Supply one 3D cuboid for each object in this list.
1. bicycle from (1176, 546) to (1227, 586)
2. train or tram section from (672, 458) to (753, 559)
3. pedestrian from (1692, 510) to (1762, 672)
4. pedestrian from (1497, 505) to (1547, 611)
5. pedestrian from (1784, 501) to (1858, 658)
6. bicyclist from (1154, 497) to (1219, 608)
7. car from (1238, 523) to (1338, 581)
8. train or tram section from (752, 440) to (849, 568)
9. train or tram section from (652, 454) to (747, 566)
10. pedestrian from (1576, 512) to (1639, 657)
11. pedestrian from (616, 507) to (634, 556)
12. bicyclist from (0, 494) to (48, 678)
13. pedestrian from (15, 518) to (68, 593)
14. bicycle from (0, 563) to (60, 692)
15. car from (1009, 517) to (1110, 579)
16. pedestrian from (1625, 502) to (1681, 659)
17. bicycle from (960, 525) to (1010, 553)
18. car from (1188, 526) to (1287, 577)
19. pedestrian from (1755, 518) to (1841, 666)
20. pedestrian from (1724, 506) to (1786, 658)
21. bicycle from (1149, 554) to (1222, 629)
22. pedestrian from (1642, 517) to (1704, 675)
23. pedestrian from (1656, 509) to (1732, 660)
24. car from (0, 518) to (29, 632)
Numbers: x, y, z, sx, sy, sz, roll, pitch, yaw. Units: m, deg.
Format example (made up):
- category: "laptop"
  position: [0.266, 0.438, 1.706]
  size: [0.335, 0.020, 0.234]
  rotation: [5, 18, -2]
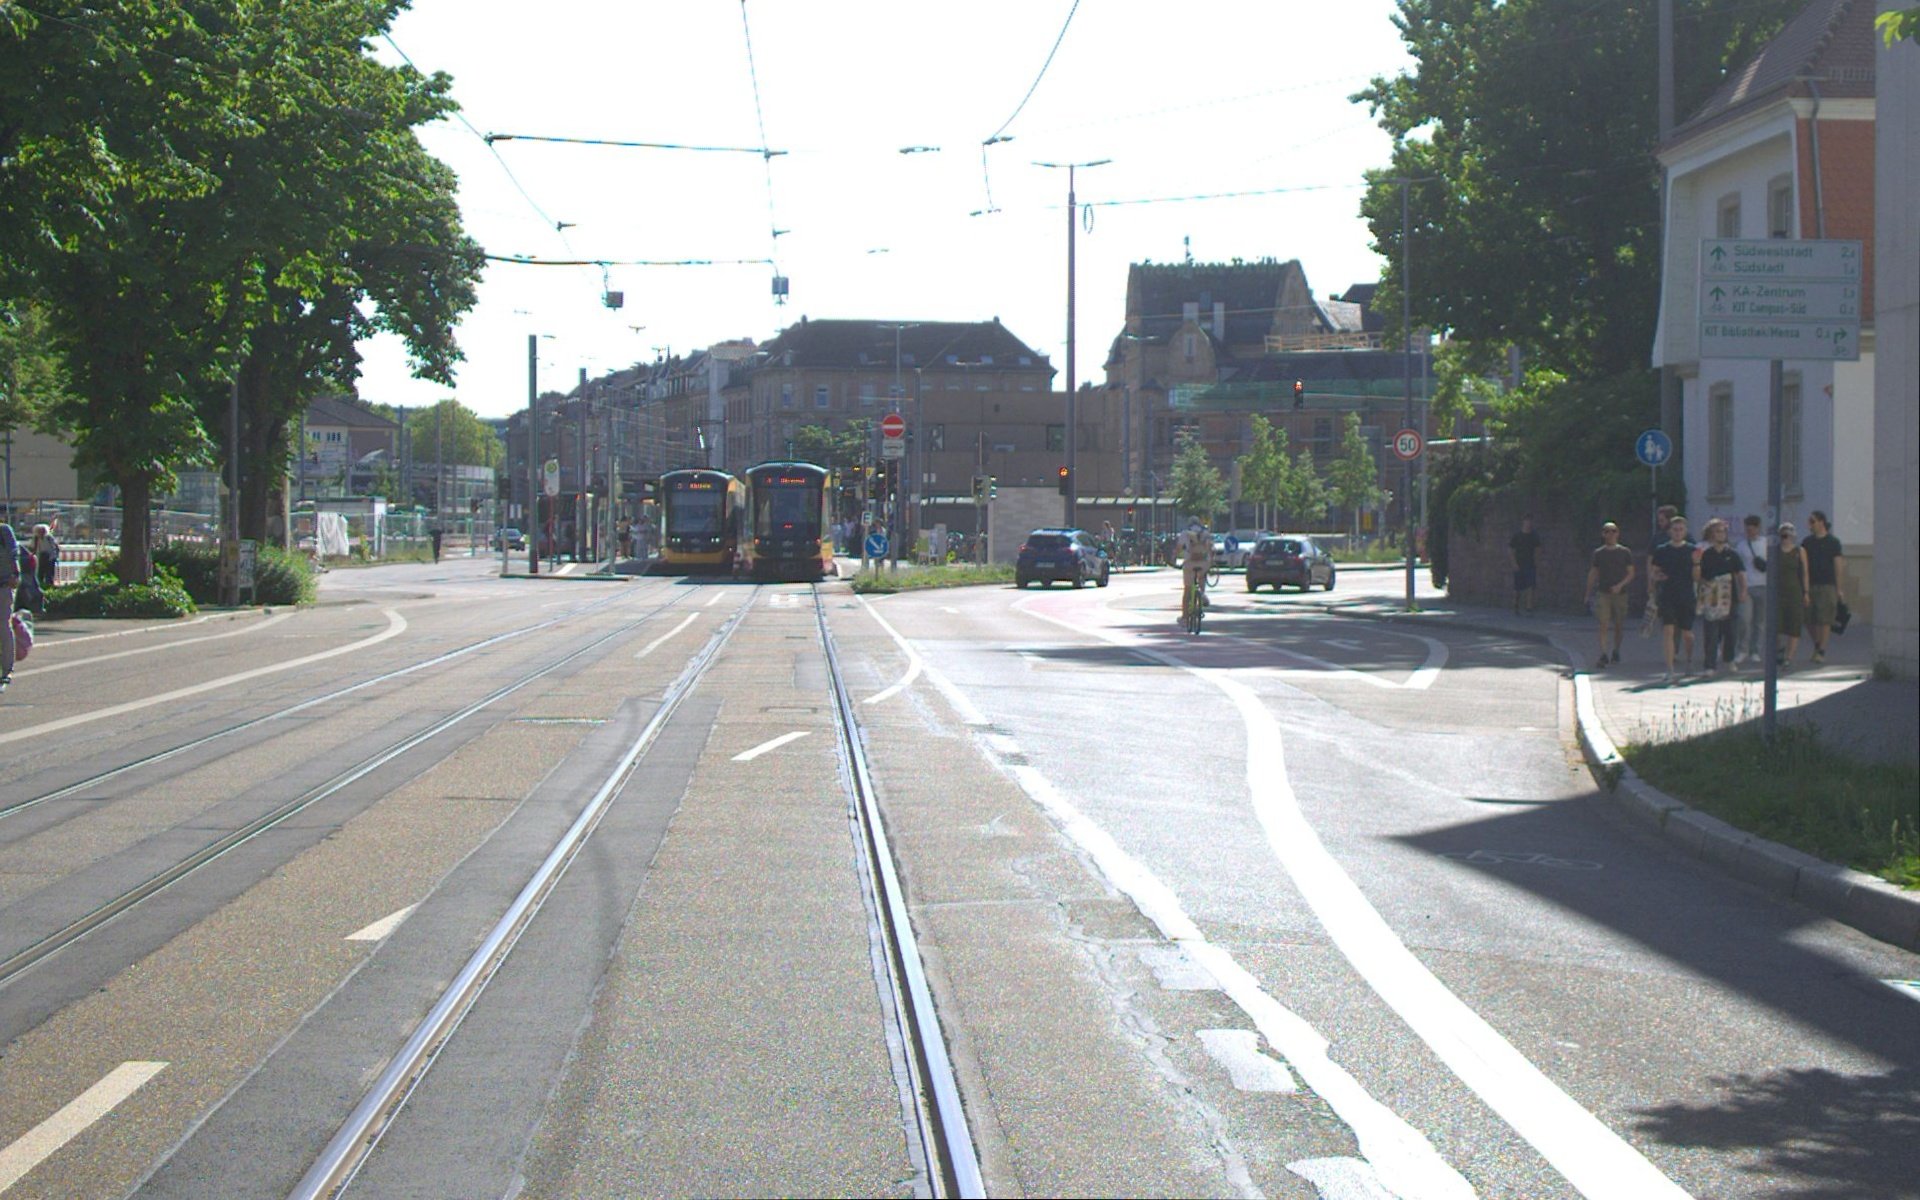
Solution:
- category: "bicycle"
  position: [6.727, -0.944, 95.617]
  size: [0.706, 1.051, 2.311]
  rotation: [3, 3, 22]
- category: "train or tram section"
  position: [-9.411, -3.530, 131.891]
  size: [2.742, 3.639, 12.546]
  rotation: [0, 2, -3]
- category: "pedestrian"
  position: [8.637, -0.112, 38.716]
  size: [0.647, 1.757, 0.955]
  rotation: [-4, 1, 12]
- category: "pedestrian"
  position: [10.190, -0.770, 62.382]
  size: [0.637, 1.897, 1.135]
  rotation: [-2, 1, -1]
- category: "pedestrian"
  position: [10.088, -0.243, 40.305]
  size: [0.657, 1.796, 0.731]
  rotation: [-3, 1, 6]
- category: "bicyclist"
  position: [3.500, -0.740, 52.962]
  size: [0.705, 1.669, 1.100]
  rotation: [2, 2, 17]
- category: "car"
  position: [8.987, -1.316, 93.921]
  size: [1.791, 1.506, 3.709]
  rotation: [2, 2, 20]
- category: "train or tram section"
  position: [-4.954, -2.934, 105.077]
  size: [2.742, 3.639, 13.788]
  rotation: [0, 2, -3]
- category: "train or tram section"
  position: [-8.893, -3.130, 118.738]
  size: [2.742, 3.639, 13.788]
  rotation: [0, 2, -2]
- category: "pedestrian"
  position: [7.990, -0.194, 42.441]
  size: [0.606, 1.740, 0.718]
  rotation: [-3, 1, 6]
- category: "pedestrian"
  position: [-12.675, -2.597, 130.105]
  size: [0.626, 1.821, 0.662]
  rotation: [0, 1, -3]
- category: "bicyclist"
  position: [-8.831, -0.132, 31.238]
  size: [0.686, 1.639, 1.237]
  rotation: [-2, 1, 2]
- category: "pedestrian"
  position: [-18.367, -0.895, 68.742]
  size: [0.920, 1.499, 0.706]
  rotation: [0, 1, -25]
- category: "bicycle"
  position: [-8.820, 0.243, 31.265]
  size: [0.686, 1.120, 1.931]
  rotation: [-2, 1, 2]
- category: "car"
  position: [2.694, -1.408, 92.457]
  size: [1.790, 1.599, 3.710]
  rotation: [2, 2, 16]
- category: "pedestrian"
  position: [8.550, -0.250, 42.428]
  size: [0.518, 1.896, 0.611]
  rotation: [-3, 1, 6]
- category: "bicycle"
  position: [0.972, -2.398, 135.584]
  size: [1.933, 1.099, 0.599]
  rotation: [0, 2, -4]
- category: "car"
  position: [9.293, -1.611, 115.076]
  size: [1.704, 1.638, 3.706]
  rotation: [3, 2, 33]
- category: "pedestrian"
  position: [9.480, -0.099, 38.923]
  size: [0.829, 1.599, 0.893]
  rotation: [-4, 1, 12]
- category: "pedestrian"
  position: [9.574, -0.220, 41.407]
  size: [0.610, 1.768, 0.652]
  rotation: [-4, 1, 14]
- category: "bicycle"
  position: [3.481, -0.140, 52.980]
  size: [0.705, 1.101, 1.716]
  rotation: [2, 2, 17]
- category: "pedestrian"
  position: [7.998, -0.052, 38.579]
  size: [0.495, 1.722, 0.816]
  rotation: [-4, 1, 7]
- category: "pedestrian"
  position: [8.953, -0.191, 41.935]
  size: [0.529, 1.768, 0.734]
  rotation: [-3, 1, 38]
- category: "car"
  position: [-14.840, -0.378, 46.455]
  size: [3.986, 1.544, 1.878]
  rotation: [1, 1, -30]
